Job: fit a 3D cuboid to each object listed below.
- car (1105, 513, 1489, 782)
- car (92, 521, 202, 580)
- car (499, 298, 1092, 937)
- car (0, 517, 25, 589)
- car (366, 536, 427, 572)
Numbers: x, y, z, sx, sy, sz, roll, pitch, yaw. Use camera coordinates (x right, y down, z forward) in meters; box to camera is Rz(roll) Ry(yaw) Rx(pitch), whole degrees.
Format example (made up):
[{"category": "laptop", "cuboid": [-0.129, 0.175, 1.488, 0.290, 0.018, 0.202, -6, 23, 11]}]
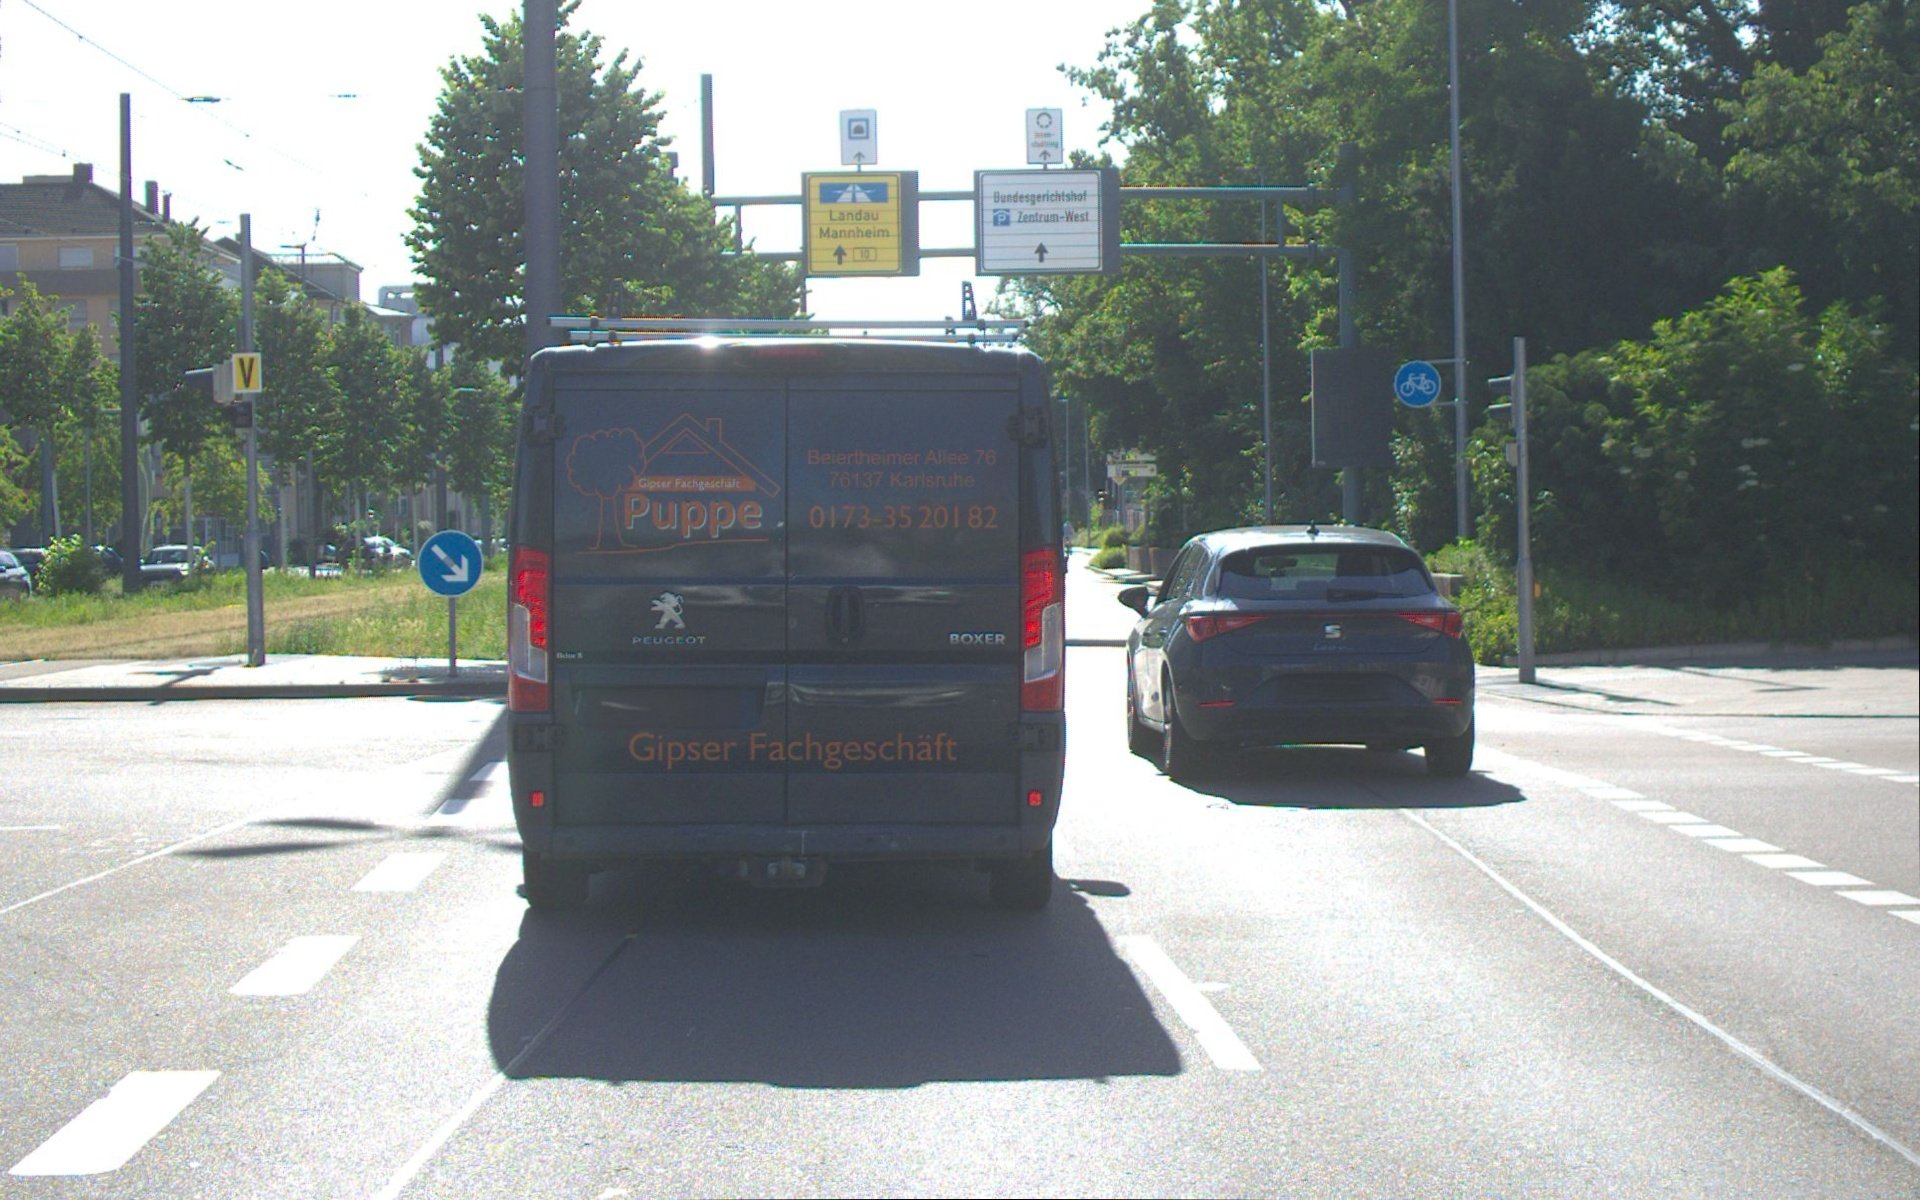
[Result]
[{"category": "car", "cuboid": [1.925, 0.210, 20.764, 1.763, 1.457, 4.001, 0, 1, -2]}, {"category": "car", "cuboid": [-22.306, -1.373, 94.421, 1.993, 1.546, 4.000, 0, 1, 1]}, {"category": "car", "cuboid": [-0.611, 0.013, 14.117, 2.082, 2.241, 4.000, 0, 1, -1]}, {"category": "car", "cuboid": [-21.671, -1.004, 73.876, 1.993, 1.546, 4.000, 0, 1, 1]}, {"category": "car", "cuboid": [-25.159, -2.068, 153.583, 1.993, 1.546, 4.000, 0, 1, 1]}]
